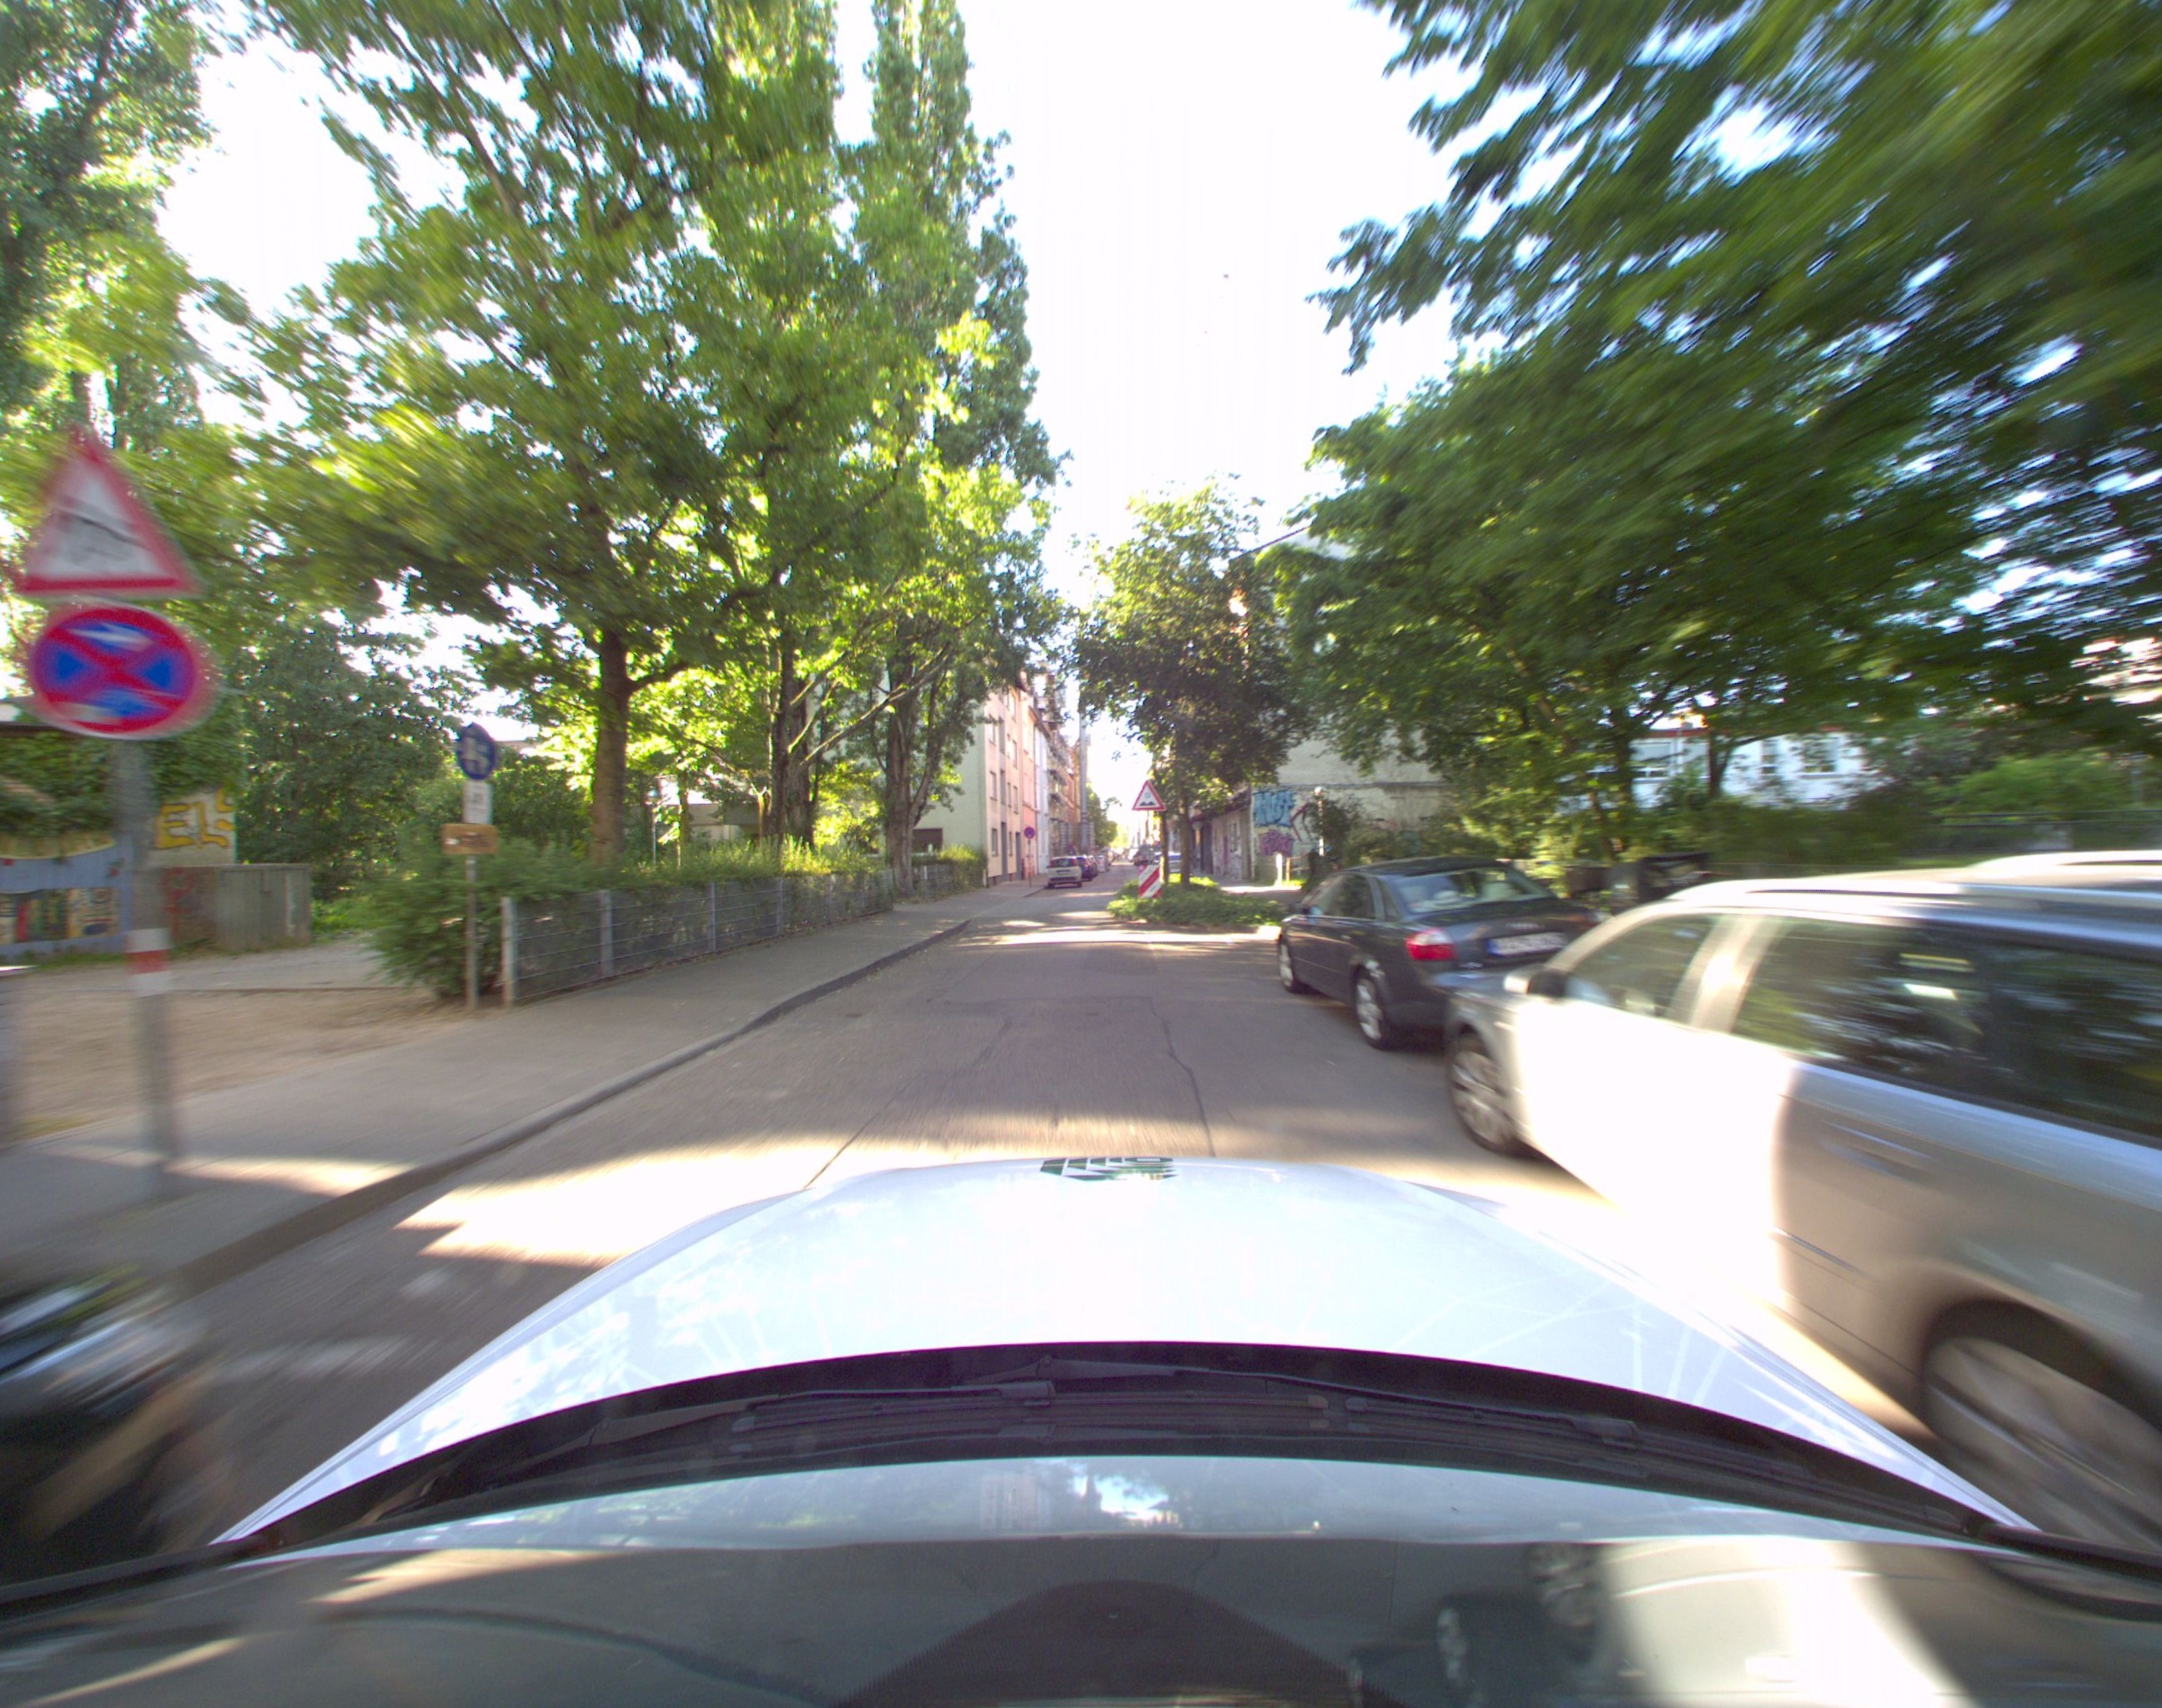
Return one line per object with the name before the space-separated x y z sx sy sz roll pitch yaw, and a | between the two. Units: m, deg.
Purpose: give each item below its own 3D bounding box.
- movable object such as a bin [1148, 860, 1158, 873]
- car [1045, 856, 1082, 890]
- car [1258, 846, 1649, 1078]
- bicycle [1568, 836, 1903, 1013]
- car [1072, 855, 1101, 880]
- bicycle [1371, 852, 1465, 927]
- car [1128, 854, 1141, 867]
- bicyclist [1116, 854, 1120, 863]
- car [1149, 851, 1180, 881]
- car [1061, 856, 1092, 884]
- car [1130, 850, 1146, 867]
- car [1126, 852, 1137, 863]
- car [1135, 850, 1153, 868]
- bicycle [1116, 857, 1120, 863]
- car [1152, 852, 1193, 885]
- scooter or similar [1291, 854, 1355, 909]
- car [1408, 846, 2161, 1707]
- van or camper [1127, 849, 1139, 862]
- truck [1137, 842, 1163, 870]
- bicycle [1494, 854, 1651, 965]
movable object such as a bin | 6.076 1.024 68.909 0.792 1.056 0.660 -2 0 2
car | -0.819 0.926 40.554 1.669 1.540 3.869 -3 0 0
car | 3.047 0.745 7.824 1.715 1.493 4.414 -3 0 1
bicycle | 5.813 0.555 7.544 1.284 1.302 2.330 -4 0 5
car | 0.431 0.867 54.200 1.668 1.511 4.417 -3 0 3
bicycle | 6.409 0.622 15.673 0.843 1.267 2.695 -2 0 5
car | 9.324 1.110 142.117 1.986 2.013 4.001 -2 0 1
bicyclist | 7.456 0.838 164.593 0.727 1.761 0.836 -1 0 3
car | 4.937 0.674 48.325 1.633 1.656 3.873 -2 0 4
car | -0.224 0.933 49.371 1.723 1.539 4.377 -3 0 0
car | 7.286 0.613 104.155 1.669 2.031 3.869 -2 -1 0
car | 9.719 0.659 156.534 1.986 1.849 4.001 -3 0 1
car | 7.021 0.554 91.670 1.669 1.963 4.109 -2 -1 0
bicycle | 7.457 1.234 164.499 0.721 1.186 2.044 -1 1 3
car | 4.657 0.730 41.910 1.715 1.562 4.400 -2 0 2
scooter or similar | 5.854 0.658 19.771 0.548 1.262 1.459 -3 0 -28
car | 2.716 0.750 2.725 1.652 1.494 4.357 -2 0 3
van or camper | 10.830 0.274 170.673 1.988 2.508 4.200 -3 0 -1
truck | 6.840 0.196 81.162 2.182 2.607 5.236 -3 0 2
bicycle | 6.045 0.625 10.183 0.843 1.200 1.984 -2 0 4
